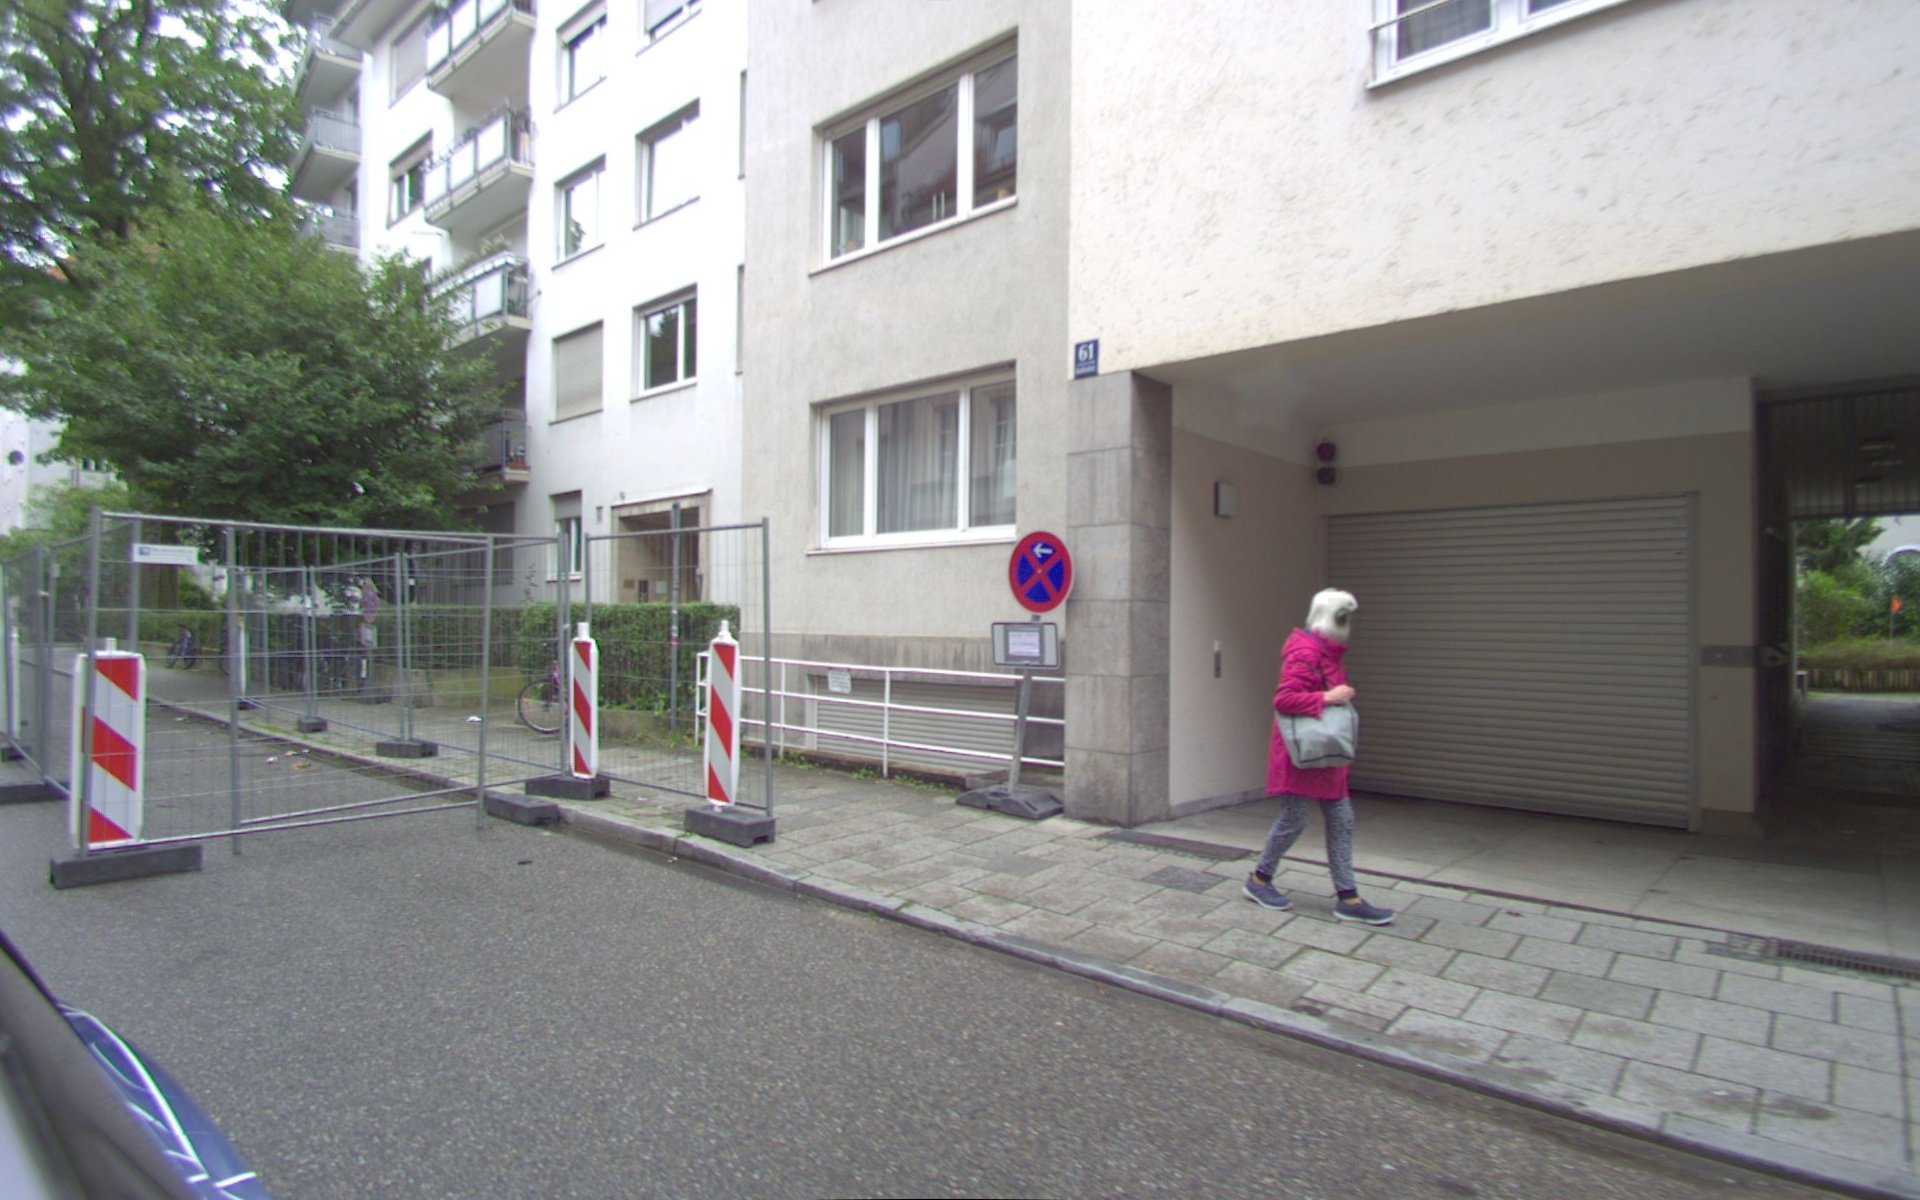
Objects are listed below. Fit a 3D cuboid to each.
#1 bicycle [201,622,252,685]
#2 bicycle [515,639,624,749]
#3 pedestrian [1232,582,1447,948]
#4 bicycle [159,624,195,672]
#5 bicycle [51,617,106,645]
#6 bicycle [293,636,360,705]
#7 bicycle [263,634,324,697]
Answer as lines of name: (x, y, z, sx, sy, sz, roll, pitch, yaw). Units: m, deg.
bicycle: (-14.669, 1.040, 20.236, 1.699, 1.160, 0.483, 0, 2, 43)
bicycle: (-4.297, 0.997, 11.087, 1.597, 1.071, 0.373, -1, 4, 43)
pedestrian: (1.781, 0.699, 4.766, 0.747, 1.543, 0.631, -1, -1, 44)
bicycle: (-18.598, 1.119, 24.028, 1.780, 1.080, 0.343, -1, 2, 42)
bicycle: (-39.699, 1.385, 45.589, 0.432, 1.270, 1.788, -1, -2, 40)
bicycle: (-10.247, 1.107, 16.341, 1.816, 0.986, 0.439, 0, 2, 43)
bicycle: (-11.615, 1.116, 17.610, 1.854, 0.986, 0.439, 0, 2, 43)
